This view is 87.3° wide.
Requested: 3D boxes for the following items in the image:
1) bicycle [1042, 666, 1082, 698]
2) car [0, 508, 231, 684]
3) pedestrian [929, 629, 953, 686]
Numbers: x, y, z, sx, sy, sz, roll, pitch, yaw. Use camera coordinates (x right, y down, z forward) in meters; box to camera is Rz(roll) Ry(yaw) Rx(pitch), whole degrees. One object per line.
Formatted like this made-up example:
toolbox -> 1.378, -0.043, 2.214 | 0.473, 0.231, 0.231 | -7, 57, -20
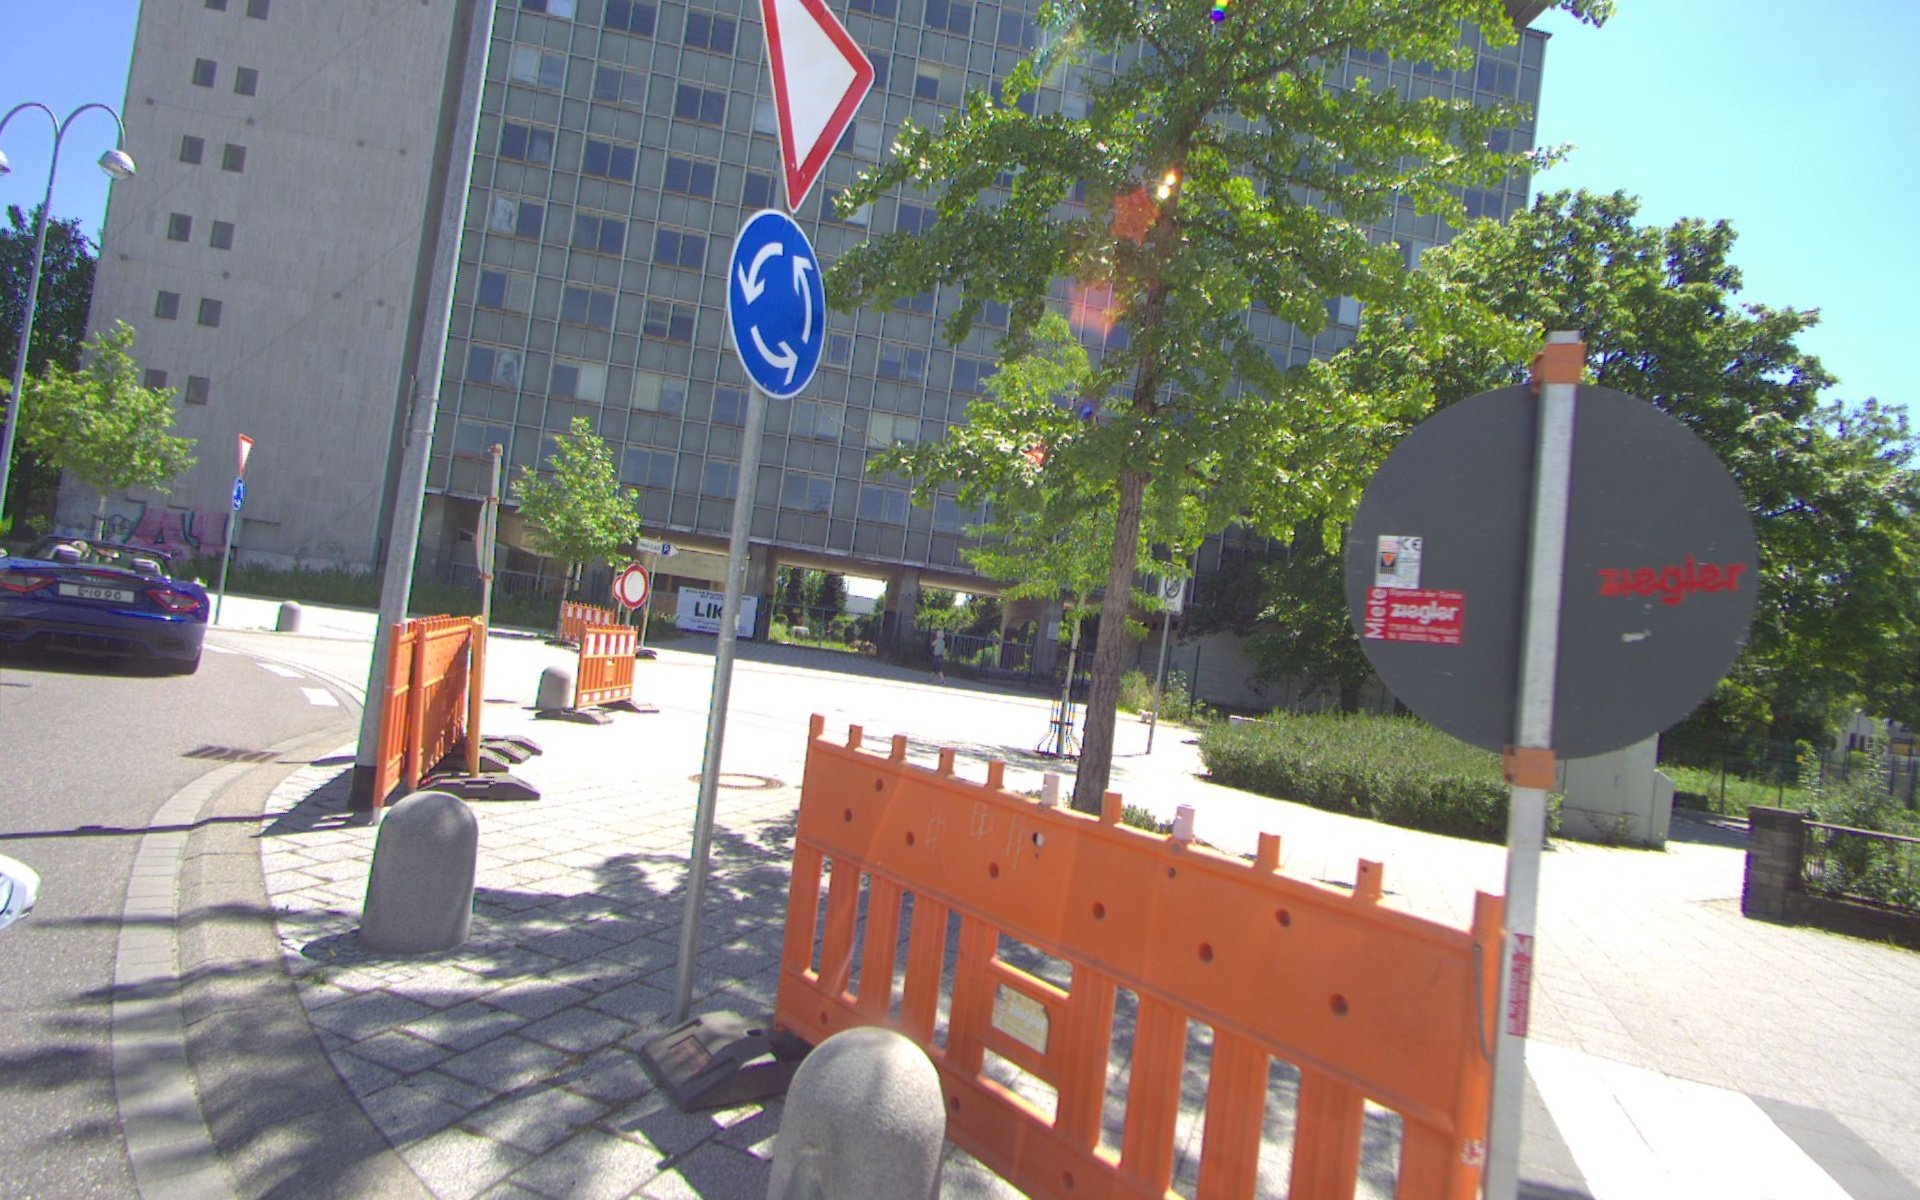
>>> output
bicycle -> 3.611, 2.900, 35.748 | 0.443, 0.917, 1.742 | 8, -3, -28
car -> -9.933, -0.036, 11.833 | 1.860, 1.546, 4.470 | 9, -4, -34
pedestrian -> -0.609, 1.816, 32.097 | 0.556, 1.729, 0.486 | 7, 1, -1
